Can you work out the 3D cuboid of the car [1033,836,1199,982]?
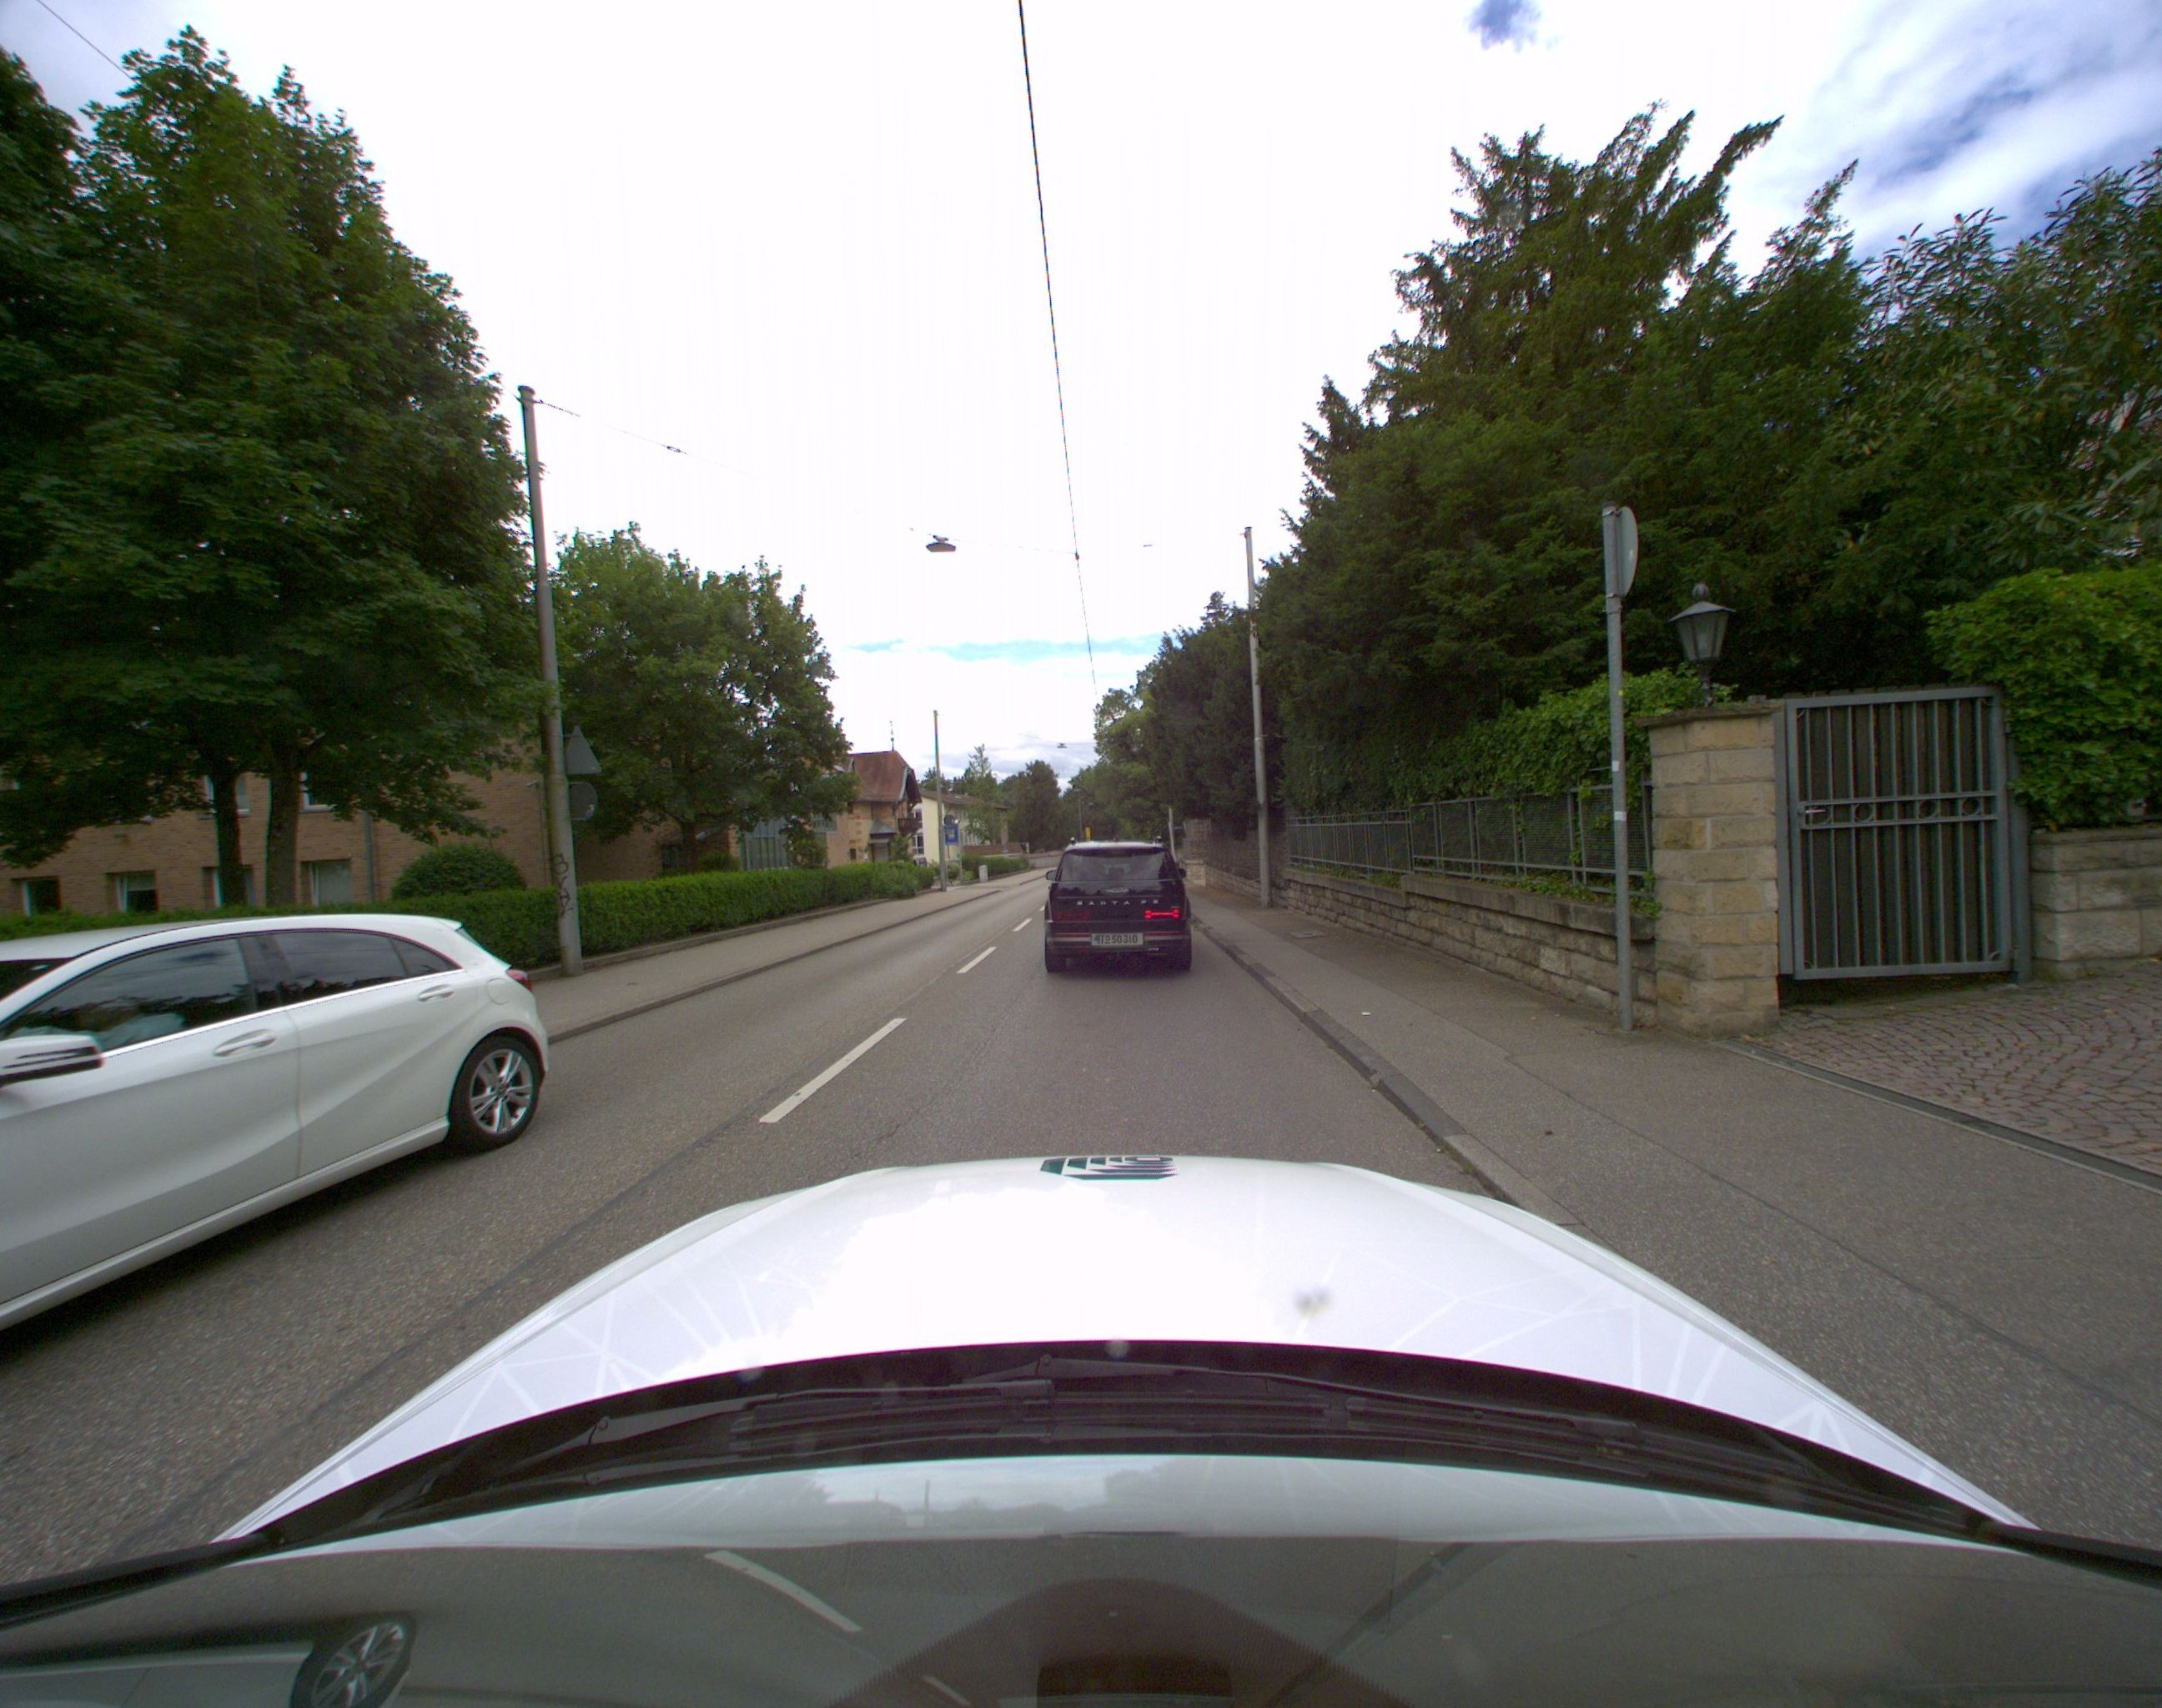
[{"bbox_3d":[0.501,0.645,11.739,1.949,1.713,4.226,0,0,2],"label":"car"}]

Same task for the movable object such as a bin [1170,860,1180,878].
[{"bbox_3d":[4.894,0.760,42.509,0.442,0.910,0.395,-3,0,11],"label":"movable object such as a bin"}]

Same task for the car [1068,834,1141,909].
[{"bbox_3d":[0.648,0.426,23.807,1.950,1.955,4.224,0,2,0],"label":"car"}]

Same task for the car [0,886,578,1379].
[{"bbox_3d":[-4.226,0.981,3.202,1.760,1.421,4.067,-5,0,2],"label":"car"}]
